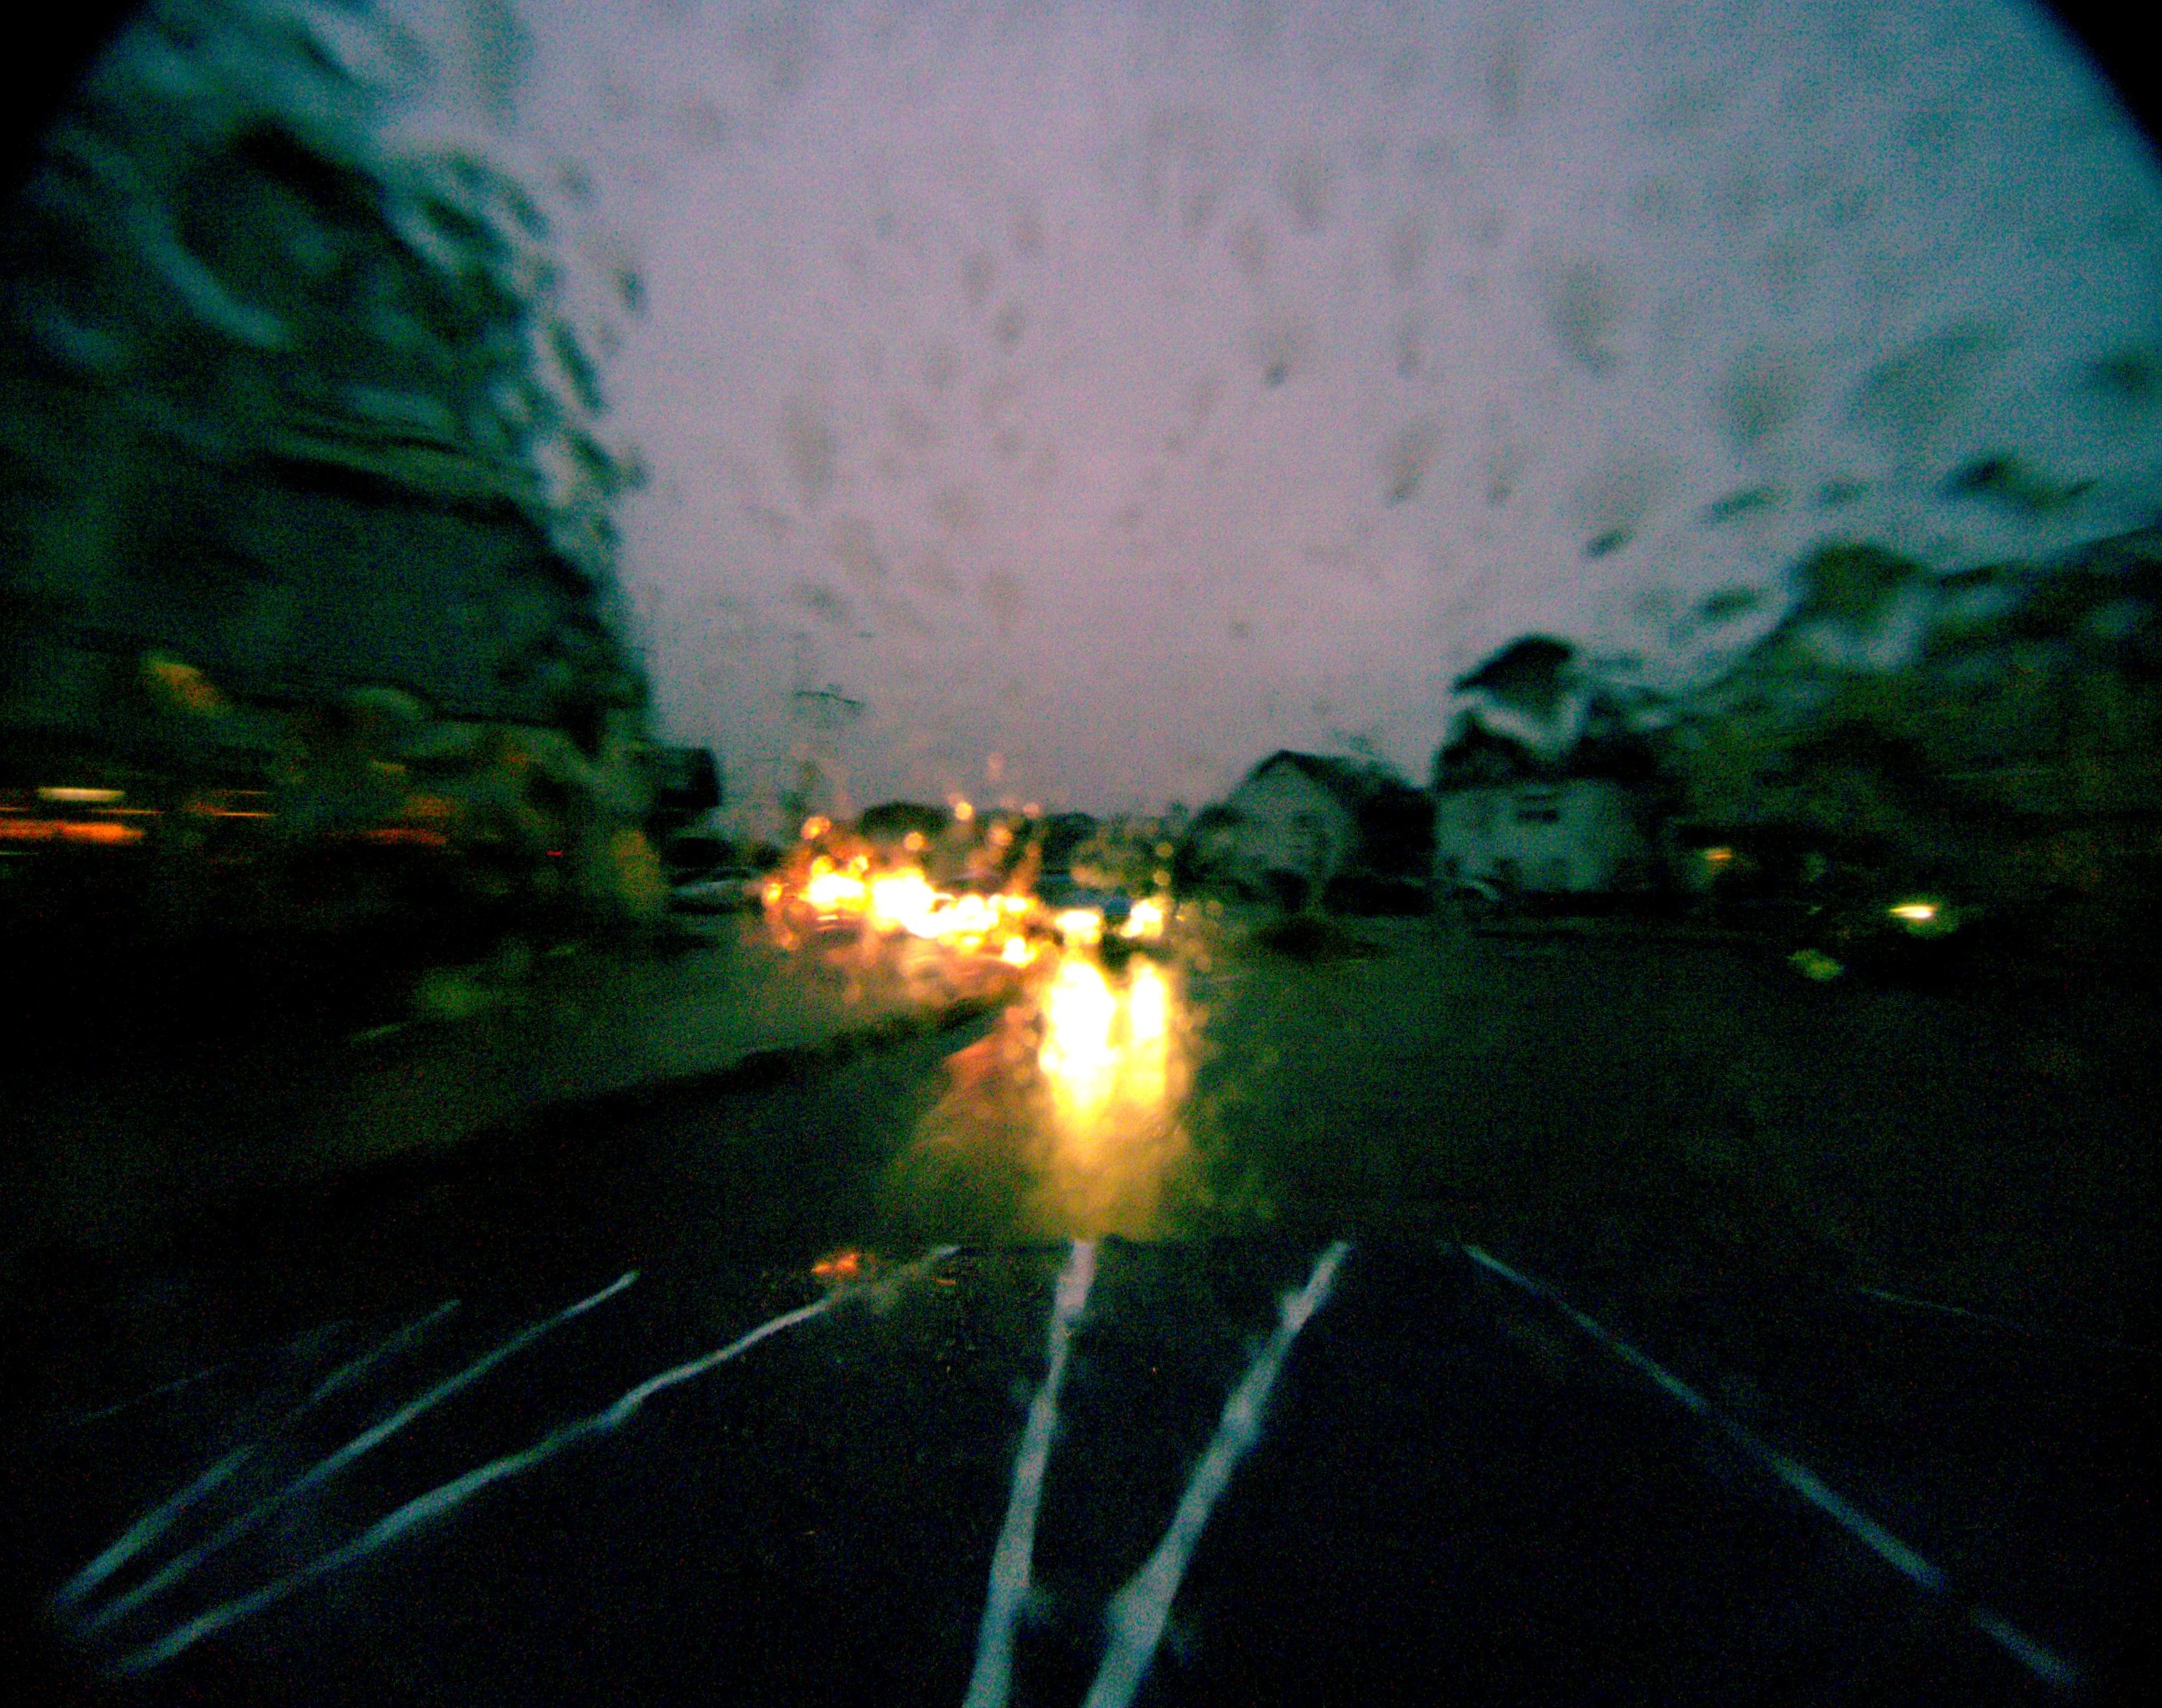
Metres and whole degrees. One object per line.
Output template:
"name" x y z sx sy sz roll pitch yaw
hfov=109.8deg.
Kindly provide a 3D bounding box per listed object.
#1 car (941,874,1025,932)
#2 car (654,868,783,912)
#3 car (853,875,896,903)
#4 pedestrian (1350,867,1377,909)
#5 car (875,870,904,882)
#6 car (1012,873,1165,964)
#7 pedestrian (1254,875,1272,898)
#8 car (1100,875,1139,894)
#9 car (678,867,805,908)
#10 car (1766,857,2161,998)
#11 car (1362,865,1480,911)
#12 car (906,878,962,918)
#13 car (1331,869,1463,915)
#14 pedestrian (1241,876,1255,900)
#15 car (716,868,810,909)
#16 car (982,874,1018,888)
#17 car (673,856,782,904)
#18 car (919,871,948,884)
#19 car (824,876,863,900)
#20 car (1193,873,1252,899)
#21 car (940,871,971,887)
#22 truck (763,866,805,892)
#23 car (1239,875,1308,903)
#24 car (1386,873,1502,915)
"car" -3.188 1.472 24.096 1.684 1.614 3.993 -1 -1 -22
"car" -13.221 1.320 27.782 4.008 1.494 1.809 2 -2 -34
"car" -11.939 1.970 43.738 1.744 1.434 3.992 -1 -1 -25
"pedestrian" 11.722 1.400 31.541 0.726 1.701 0.839 3 -3 -44
"car" -25.605 2.916 101.570 1.804 1.460 4.603 1 -2 -41
"car" 0.001 1.240 16.117 1.891 1.569 3.994 -2 0 -20
"pedestrian" 10.002 1.761 41.722 0.694 1.242 0.601 0 -1 -28
"car" 3.156 2.485 62.696 1.482 1.499 3.495 1 -1 -34
"car" -13.829 1.372 31.020 4.531 1.483 1.970 3 -2 -29
"car" 11.975 0.851 9.547 4.624 1.583 1.956 -1 -1 12
"car" 12.933 1.288 28.965 3.886 1.659 1.845 -1 -3 32
"car" -6.114 1.760 31.416 1.574 1.460 3.610 -1 -1 -22
"car" 11.298 1.296 27.181 4.169 1.522 1.918 0 -1 28
"pedestrian" 8.974 1.827 40.770 0.601 1.294 0.512 -1 -1 29
"car" -16.836 1.846 40.267 4.162 1.624 1.750 9 -6 -32
"car" -8.480 2.801 79.458 1.804 1.460 4.246 1 -1 -37
"car" -17.161 1.285 36.987 4.563 1.921 1.971 6 -4 -27
"car" -17.935 2.841 92.322 1.680 1.459 4.007 3 -4 -41
"car" -16.506 2.341 52.774 1.838 1.535 3.707 -1 -1 -29
"car" 9.560 2.119 51.505 1.707 1.650 3.950 -1 -1 -33
"car" -14.561 2.915 87.941 1.804 1.816 4.246 1 -1 -37
"truck" -26.572 2.205 67.811 2.253 2.217 6.089 -1 -1 -34
"car" 11.948 2.147 47.426 1.783 1.560 4.084 -1 -1 -30
"car" 14.780 1.617 31.017 3.989 1.621 1.769 -1 -3 36
